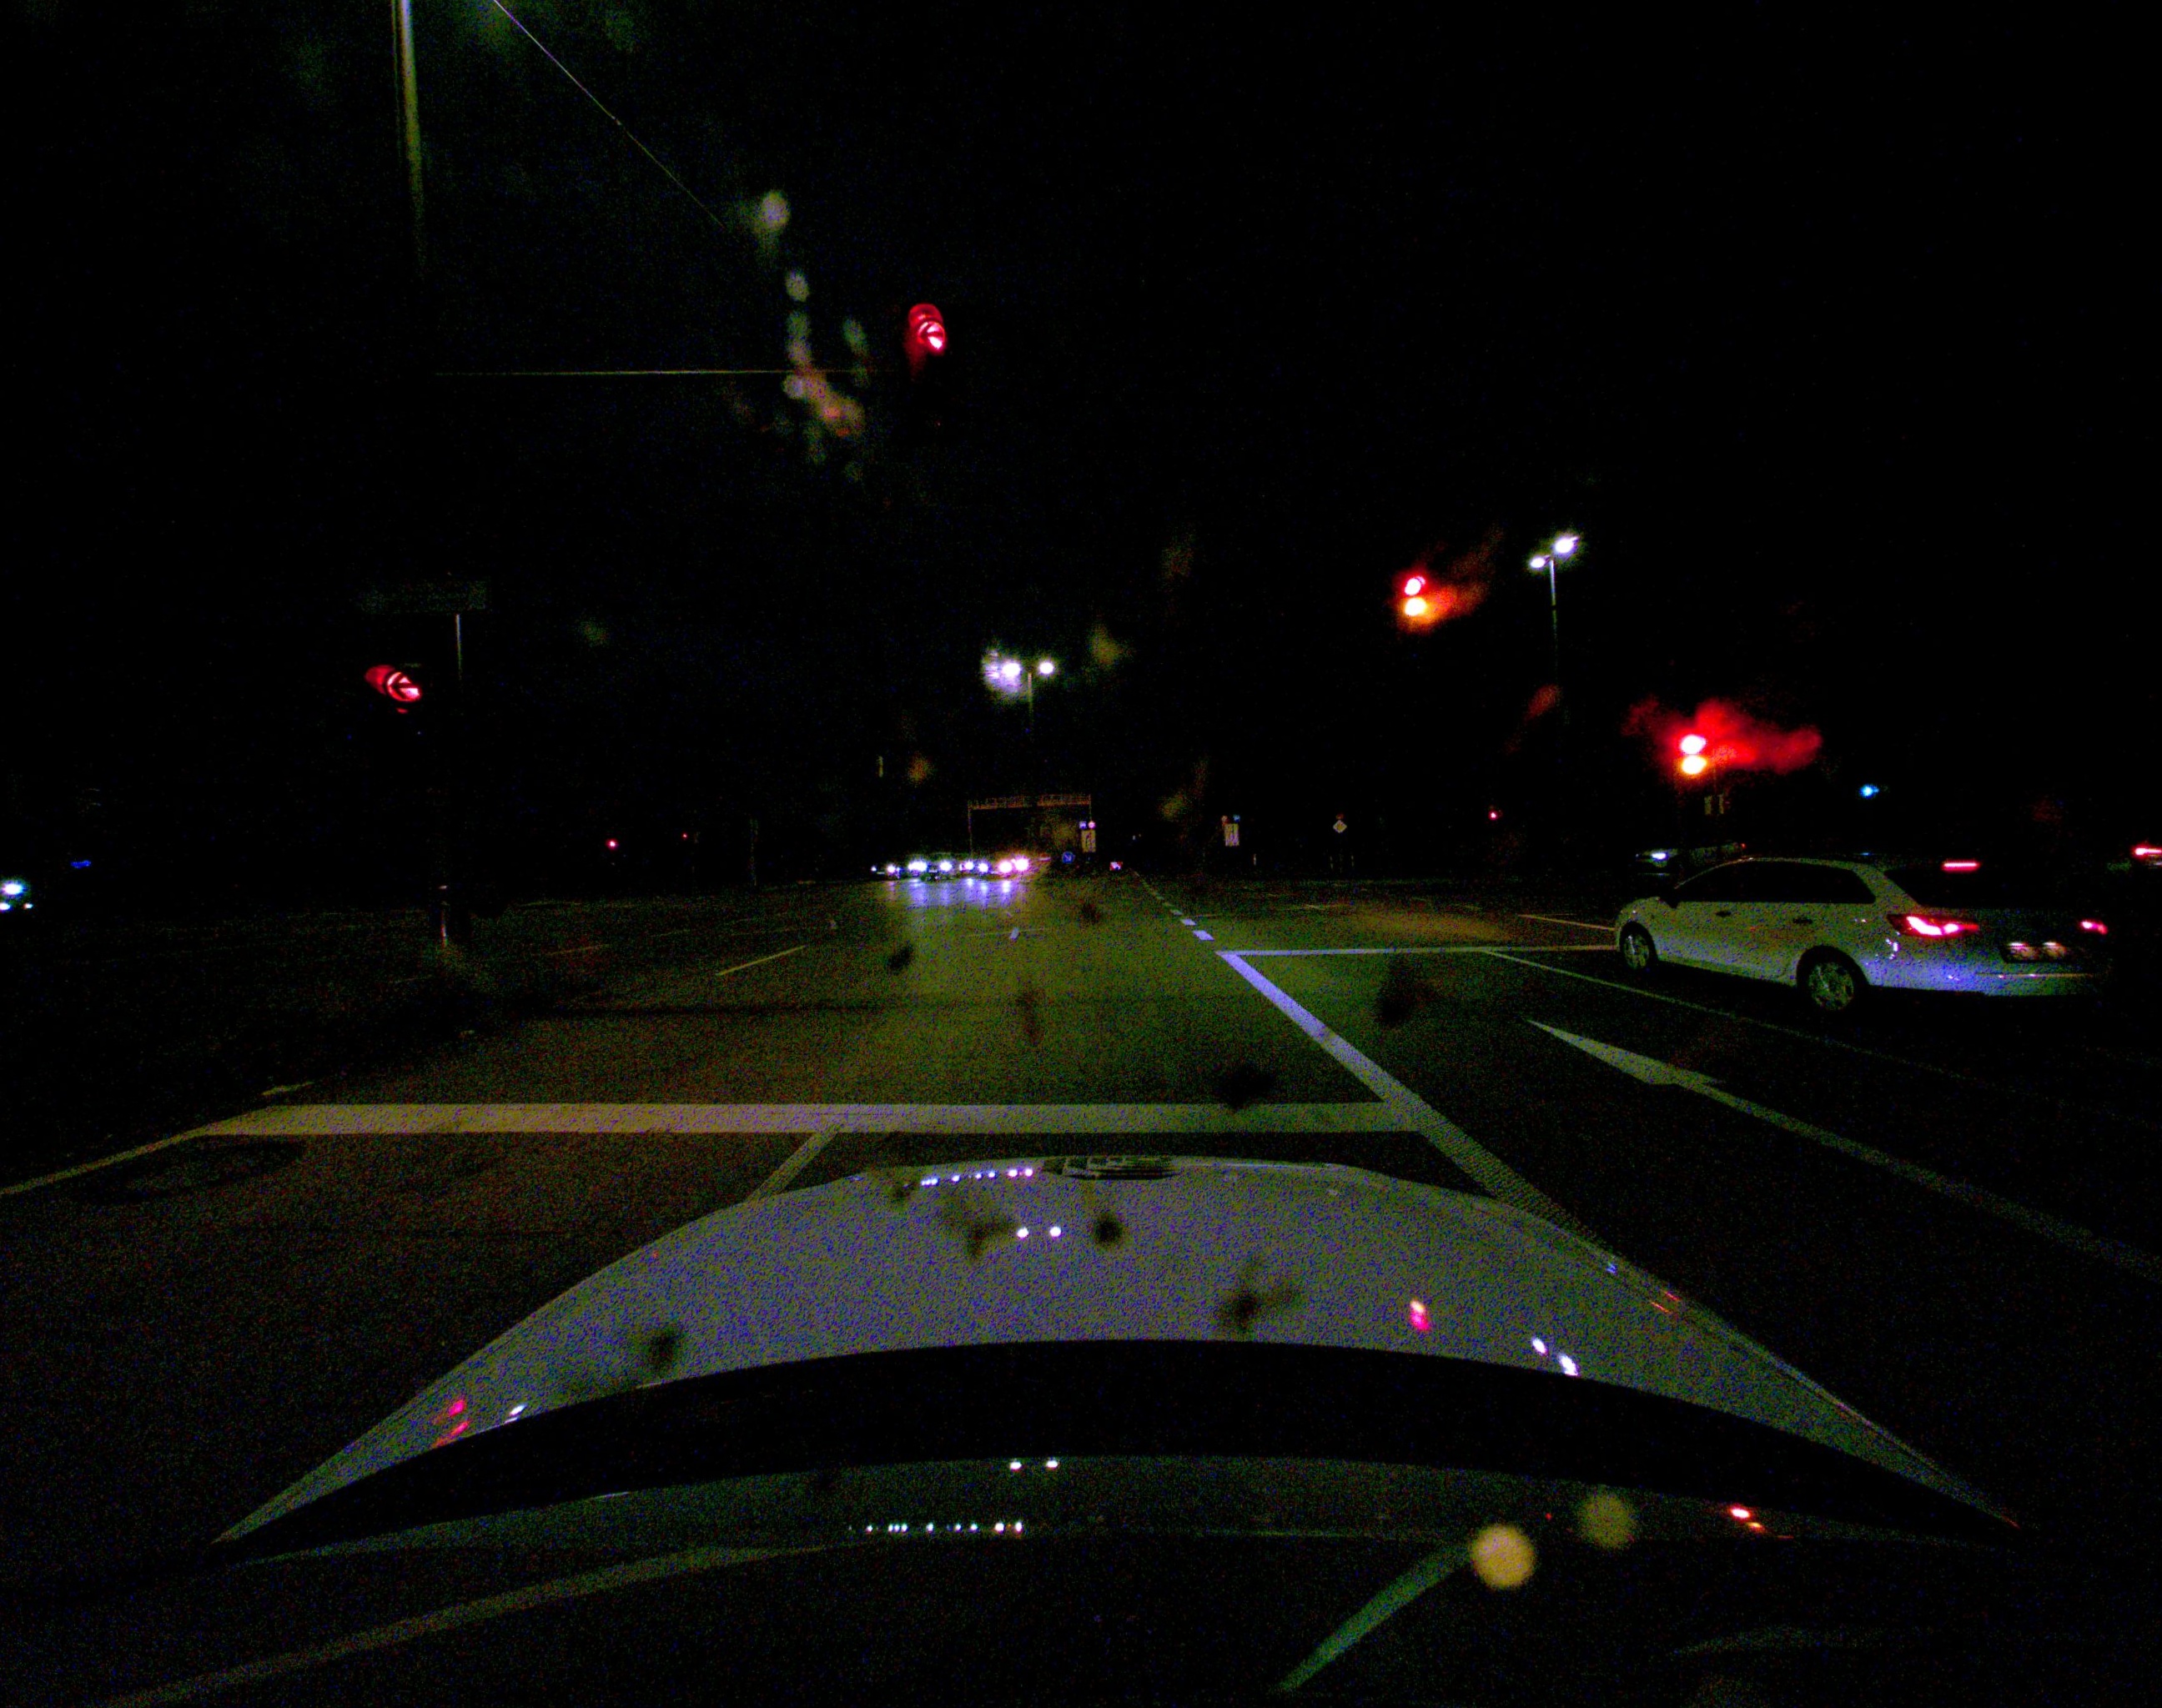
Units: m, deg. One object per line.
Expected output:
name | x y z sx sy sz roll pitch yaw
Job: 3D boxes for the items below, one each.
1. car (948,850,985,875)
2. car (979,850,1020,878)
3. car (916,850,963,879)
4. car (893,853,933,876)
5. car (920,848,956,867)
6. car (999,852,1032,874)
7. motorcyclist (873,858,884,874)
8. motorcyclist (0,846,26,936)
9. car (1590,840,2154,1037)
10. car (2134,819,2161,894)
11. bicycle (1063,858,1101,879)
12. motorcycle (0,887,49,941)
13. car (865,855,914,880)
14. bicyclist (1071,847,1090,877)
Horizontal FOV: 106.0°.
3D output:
car | -8.166 0.559 58.359 1.738 1.626 4.367 -1 1 4
car | -5.058 0.587 51.061 1.844 1.633 4.589 -1 1 3
car | -8.800 0.629 50.966 1.900 1.682 4.424 -1 1 4
car | -12.010 0.737 58.392 1.824 1.524 4.003 -2 0 3
car | -11.551 0.285 66.058 1.824 1.390 4.401 -2 1 3
car | -4.711 0.614 58.998 1.765 1.481 3.914 -1 0 4
motorcyclist | -23.820 1.395 95.846 0.918 1.809 0.863 -5 -3 -24
motorcyclist | -24.783 0.842 18.511 0.761 2.013 0.637 -1 0 6
car | 7.186 0.630 8.124 1.614 1.443 4.117 -1 0 -1
car | 26.295 0.007 19.144 4.077 1.572 1.722 -4 2 -35
bicycle | 0.050 0.800 44.705 2.057 1.101 0.694 -1 0 -4
motorcycle | -24.624 1.358 18.443 1.793 1.163 0.674 -1 0 6
car | -12.186 0.839 52.113 1.772 1.445 4.297 -1 1 5
bicyclist | -0.024 0.439 44.716 0.995 1.651 0.603 -1 0 -4
